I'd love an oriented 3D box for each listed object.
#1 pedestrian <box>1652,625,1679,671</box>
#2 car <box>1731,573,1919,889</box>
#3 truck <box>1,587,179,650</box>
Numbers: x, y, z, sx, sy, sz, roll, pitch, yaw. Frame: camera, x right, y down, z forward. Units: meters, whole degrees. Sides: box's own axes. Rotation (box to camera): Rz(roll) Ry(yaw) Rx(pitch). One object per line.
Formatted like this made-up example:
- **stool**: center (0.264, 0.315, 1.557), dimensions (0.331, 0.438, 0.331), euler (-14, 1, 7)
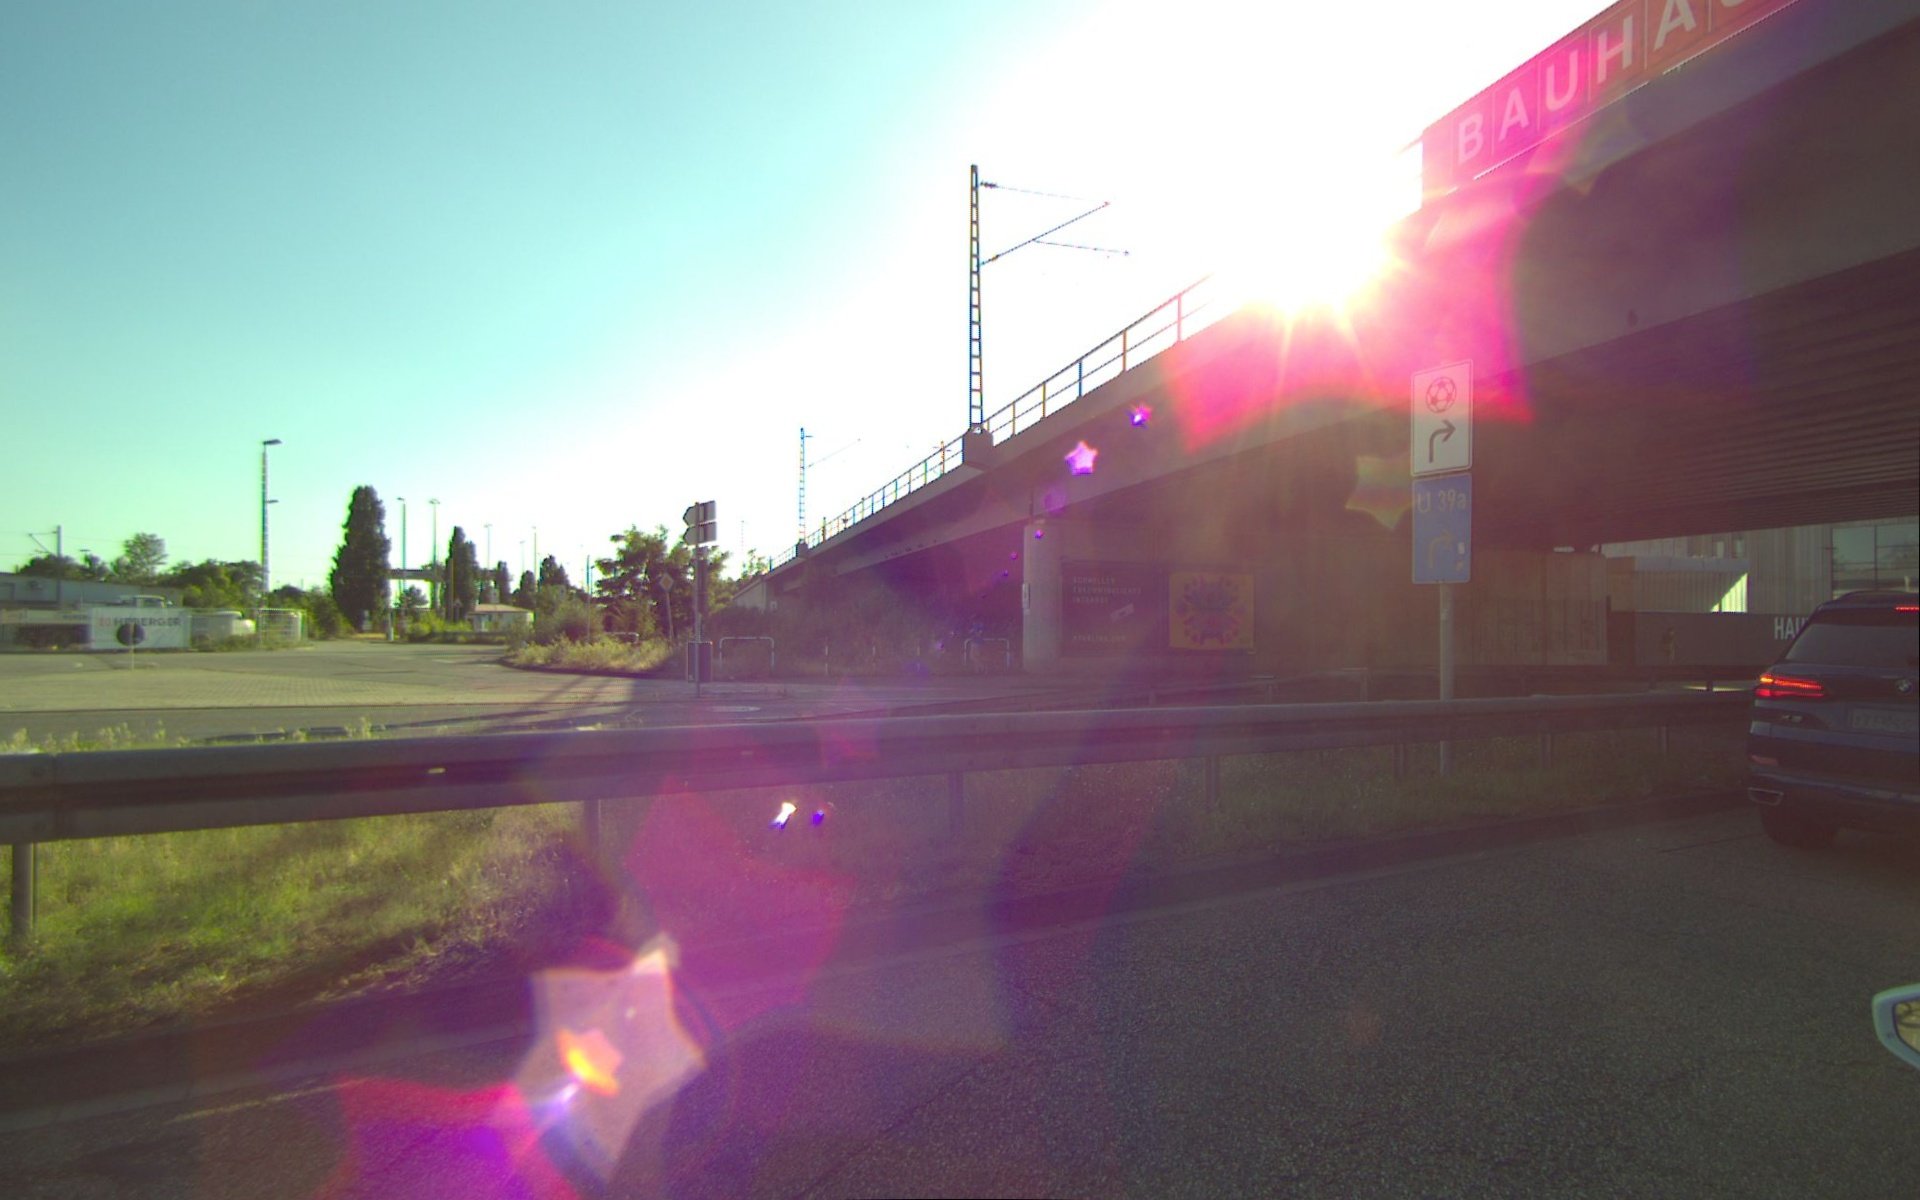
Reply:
- **pedestrian**: center (30.077, 2.034, 42.831), dimensions (0.656, 1.928, 0.692), euler (2, -1, -25)
- **car**: center (7.275, 0.821, 6.703), dimensions (4.408, 1.761, 1.821), euler (3, -2, -29)
- **truck**: center (-46.741, 1.075, 54.232), dimensions (2.393, 3.186, 6.775), euler (1, -2, 25)
